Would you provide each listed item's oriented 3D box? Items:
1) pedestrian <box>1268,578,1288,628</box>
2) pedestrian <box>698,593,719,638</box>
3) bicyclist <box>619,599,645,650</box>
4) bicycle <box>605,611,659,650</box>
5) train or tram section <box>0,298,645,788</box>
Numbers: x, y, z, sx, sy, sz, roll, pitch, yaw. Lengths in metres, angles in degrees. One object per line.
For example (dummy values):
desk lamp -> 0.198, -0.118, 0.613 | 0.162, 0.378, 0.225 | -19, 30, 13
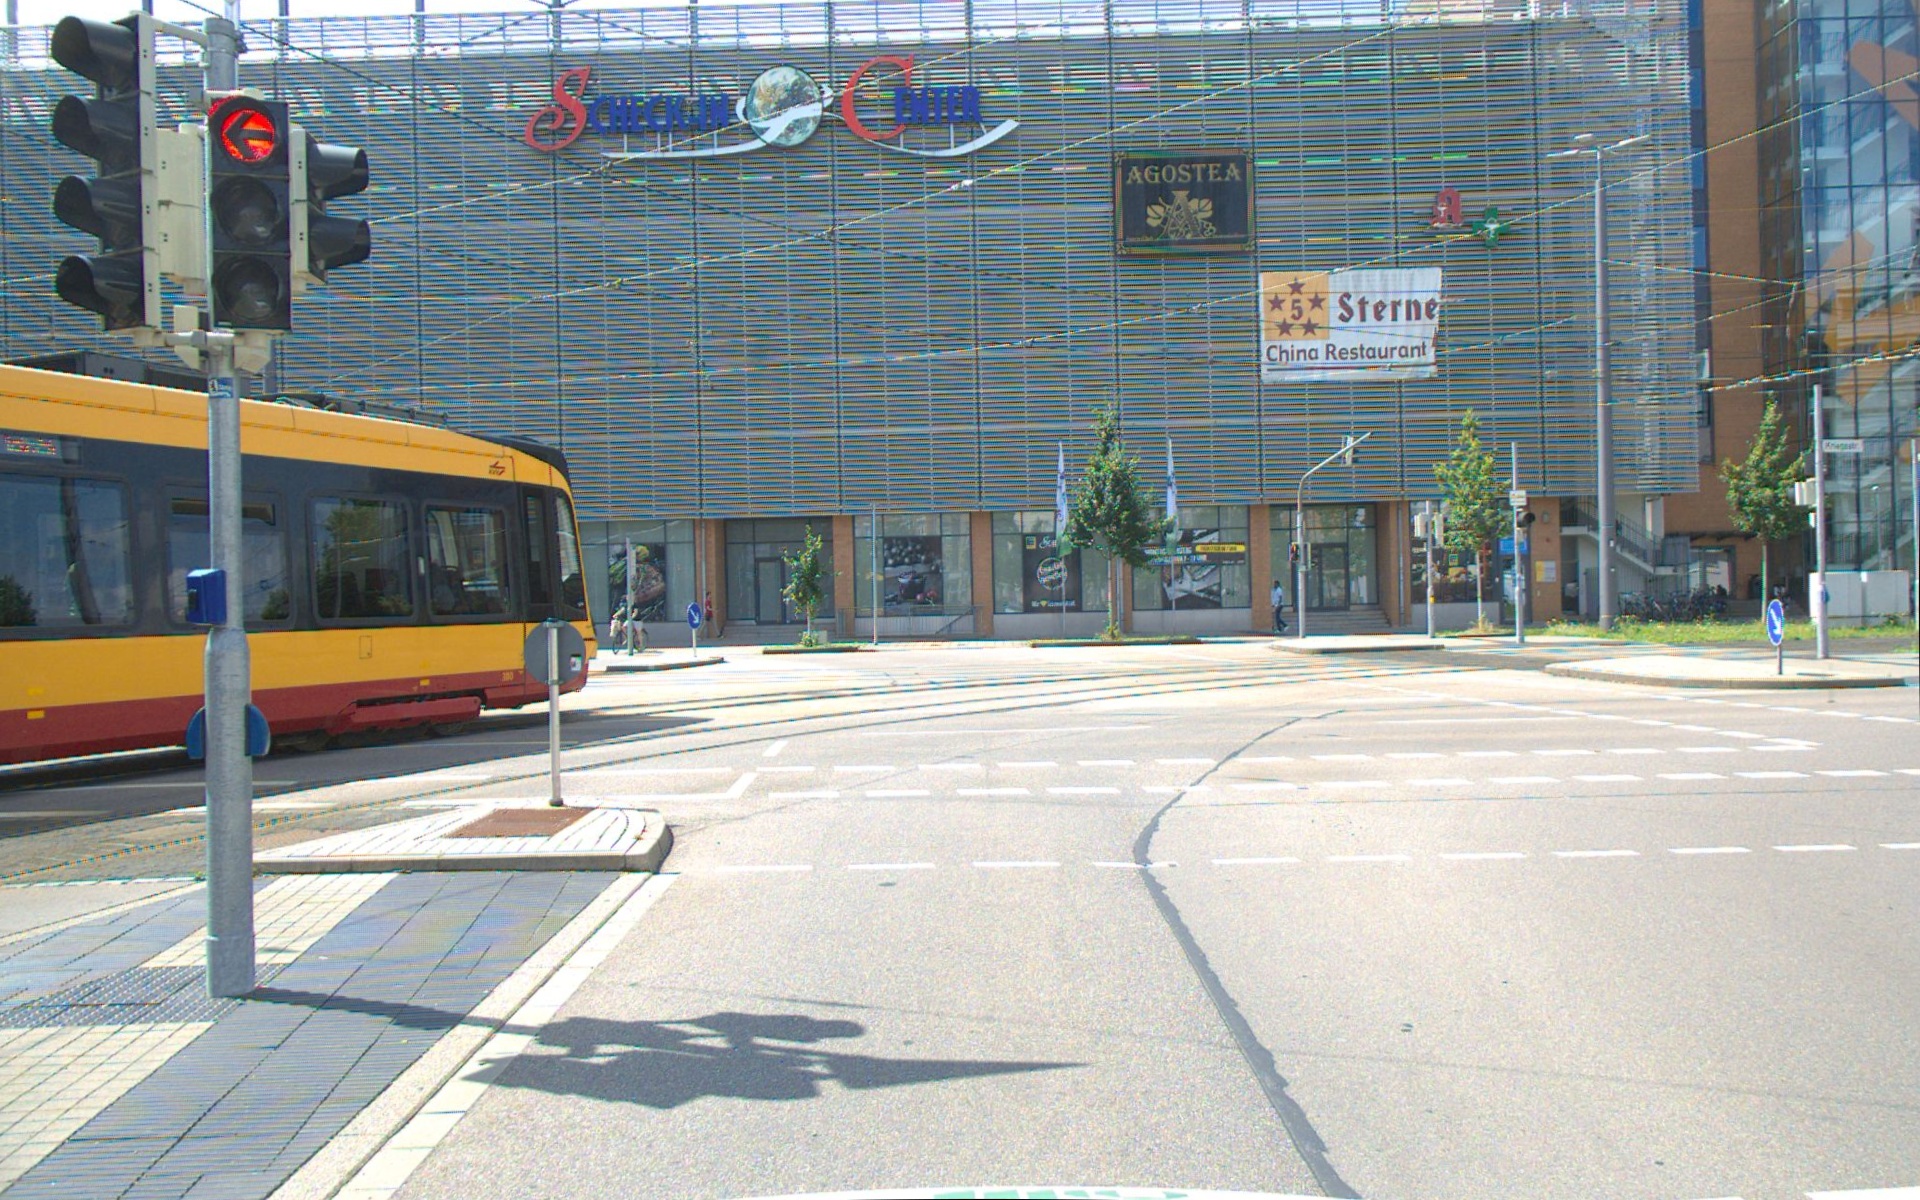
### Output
pedestrian -> 11.365, 0.108, 59.062 | 0.605, 1.776, 0.629 | 0, 0, 1
pedestrian -> -9.218, 0.553, 60.640 | 0.648, 1.652, 0.517 | 0, 0, 1
bicyclist -> -10.855, 0.812, 54.787 | 0.659, 1.652, 0.542 | 0, 0, -44
bicycle -> -10.863, 1.002, 54.780 | 1.752, 1.245, 0.575 | 0, 0, -44
train or tram section -> -7.642, -0.422, 15.513 | 2.992, 3.684, 12.638 | -2, 0, 20
